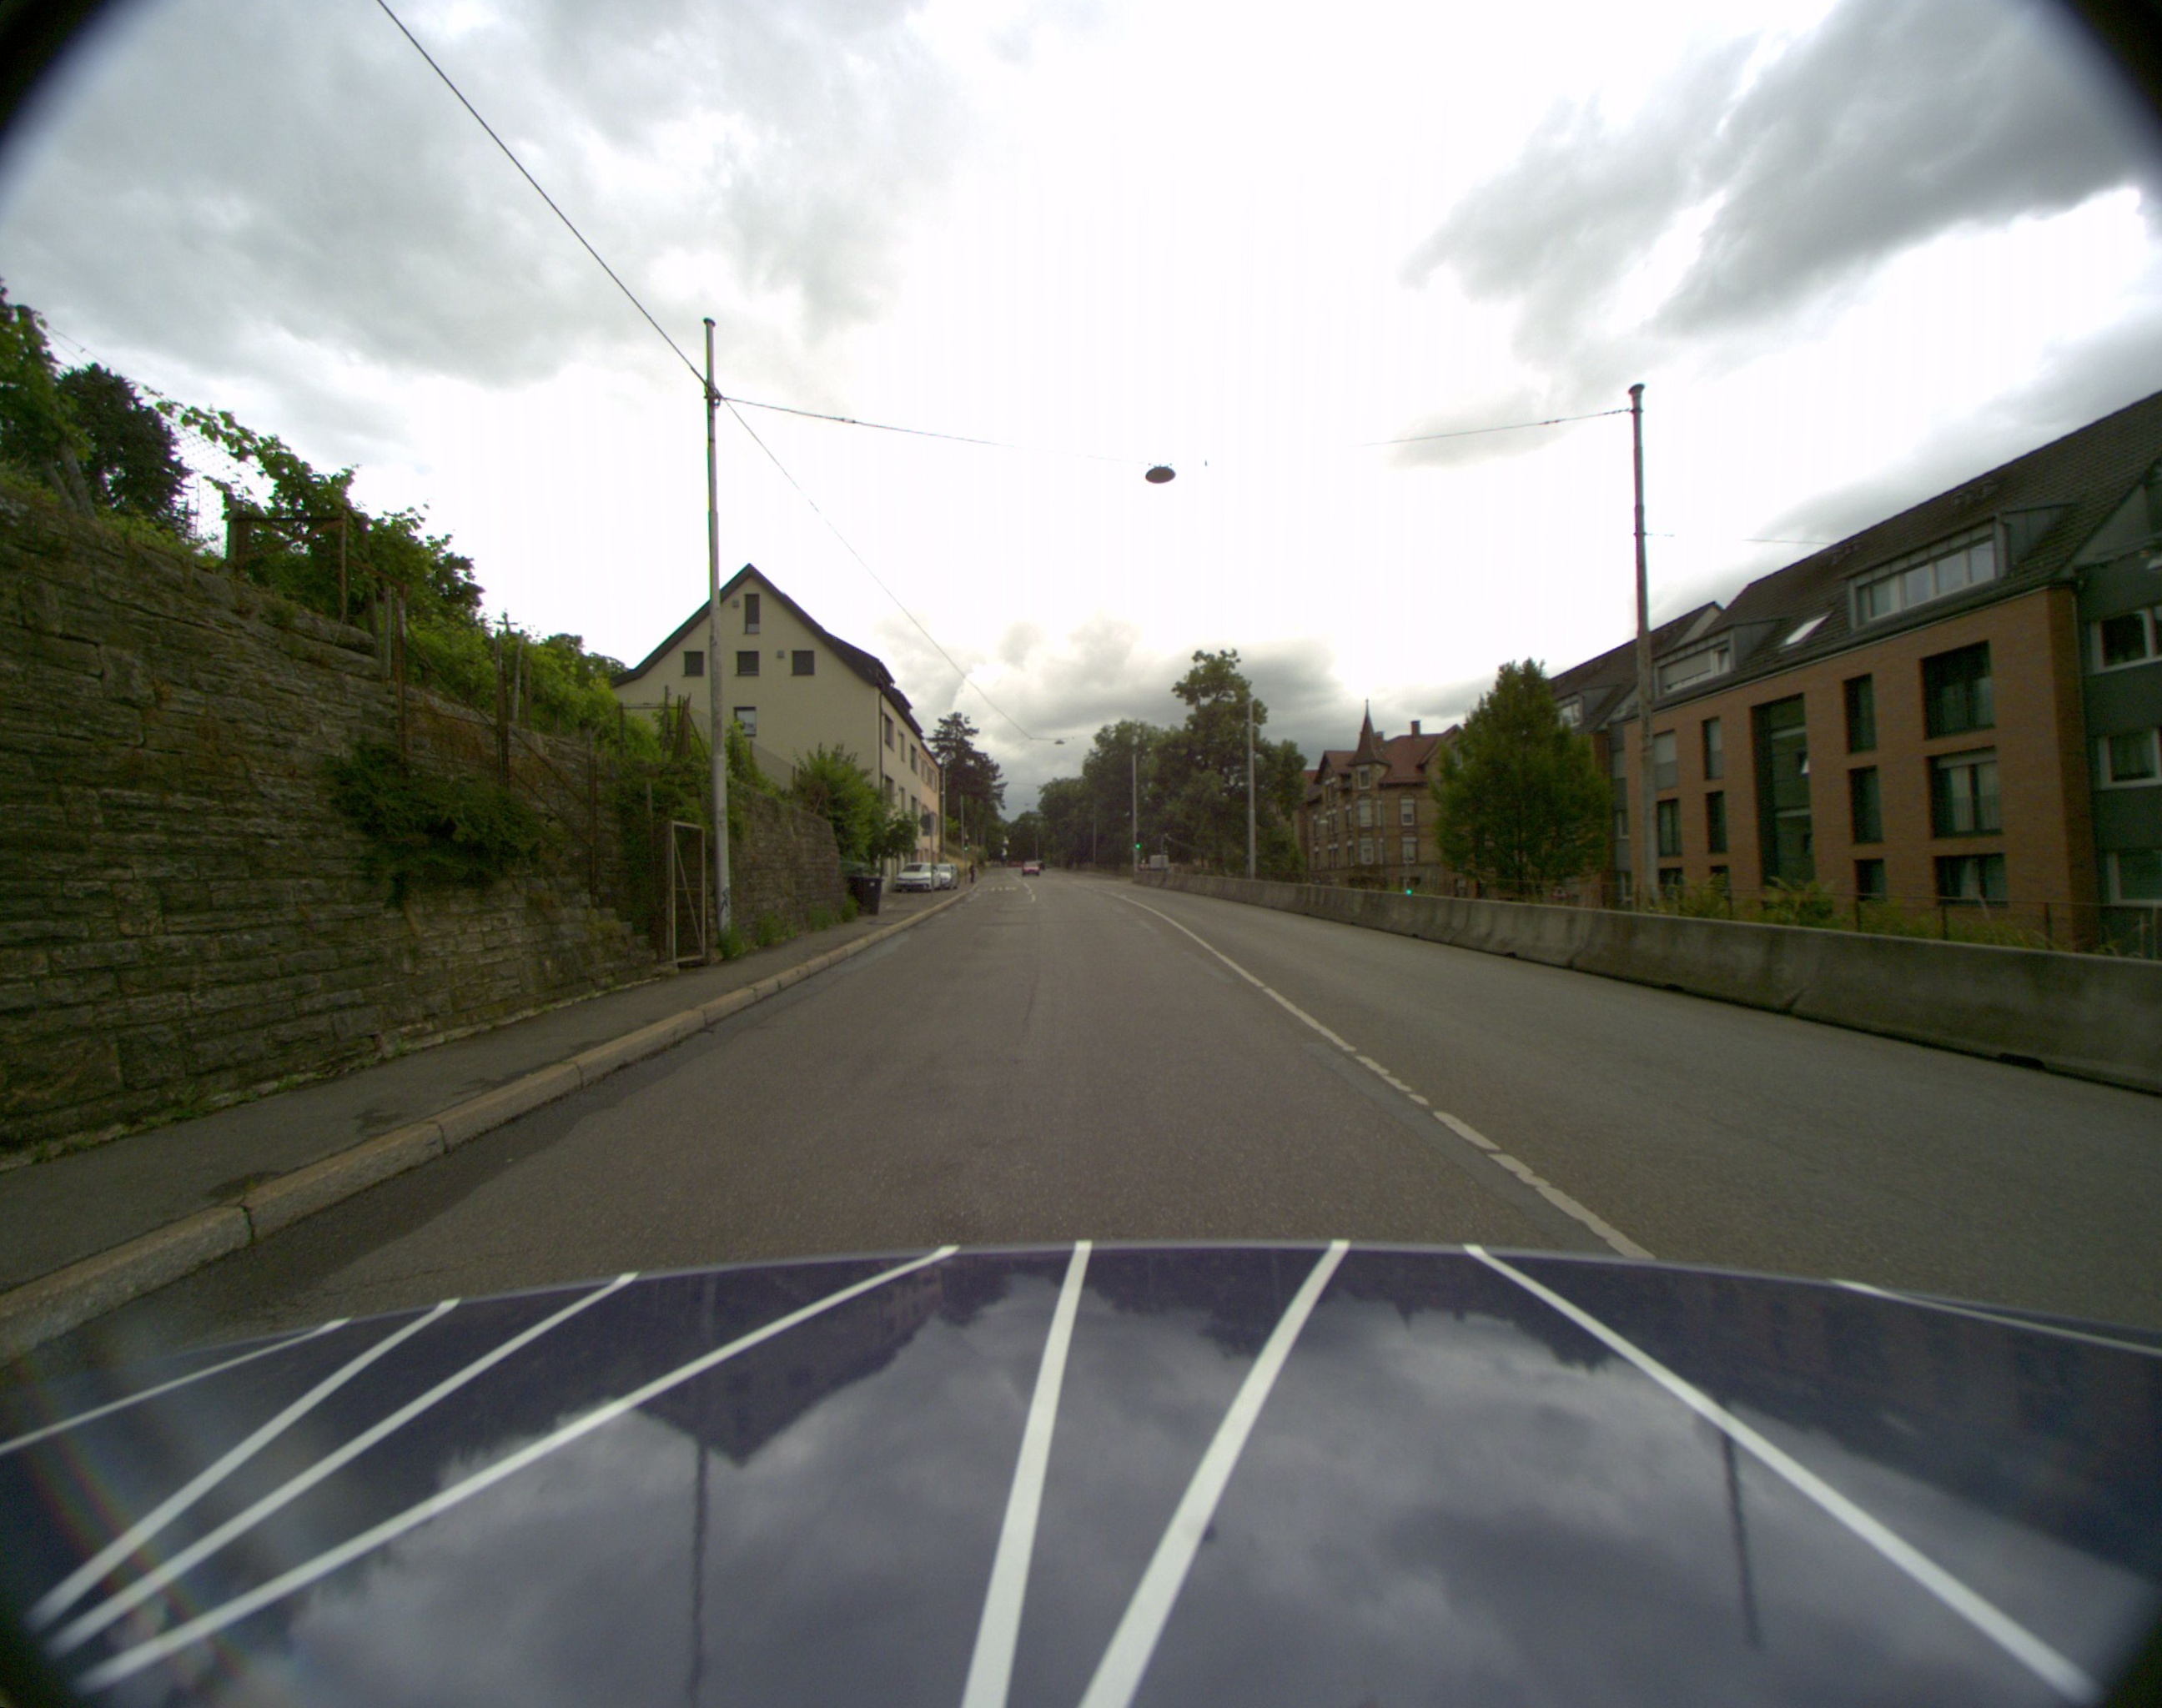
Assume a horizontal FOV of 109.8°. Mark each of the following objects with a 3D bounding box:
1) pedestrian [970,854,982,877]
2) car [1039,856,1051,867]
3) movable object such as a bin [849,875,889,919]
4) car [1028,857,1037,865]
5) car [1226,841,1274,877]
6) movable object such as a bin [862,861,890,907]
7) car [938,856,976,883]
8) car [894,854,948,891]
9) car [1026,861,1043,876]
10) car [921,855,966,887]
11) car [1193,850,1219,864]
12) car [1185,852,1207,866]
[{"bbox_3d":[-7.724,0.850,56.077,0.735,1.702,0.696,-2,1,2],"label":"pedestrian"},{"bbox_3d":[-6.266,1.268,132.733,1.786,1.871,3.999,-2,0,-2],"label":"car"},{"bbox_3d":[-5.722,1.157,20.564,0.811,1.120,0.874,-2,0,-2],"label":"movable object such as a bin"},{"bbox_3d":[-12.309,1.696,192.923,1.999,1.838,3.999,-2,0,-3],"label":"car"},{"bbox_3d":[13.027,0.322,59.038,2.565,2.567,5.735,-2,1,2],"label":"car"},{"bbox_3d":[-7.114,1.030,26.397,0.753,1.533,1.064,-3,0,-8],"label":"movable object such as a bin"},{"bbox_3d":[-8.056,0.998,49.663,1.909,1.566,4.247,-3,1,-3],"label":"car"},{"bbox_3d":[-7.752,0.866,37.229,1.799,1.566,4.054,-3,1,-1],"label":"car"},{"bbox_3d":[-4.797,1.486,78.772,1.646,1.429,3.999,-1,-1,-3],"label":"car"},{"bbox_3d":[-7.576,0.903,42.160,1.732,1.566,4.248,-3,1,-1],"label":"car"},{"bbox_3d":[12.901,0.313,78.573,1.999,1.346,4.000,0,0,0],"label":"car"},{"bbox_3d":[13.535,0.606,89.800,1.999,1.543,4.000,-1,0,0],"label":"car"}]
